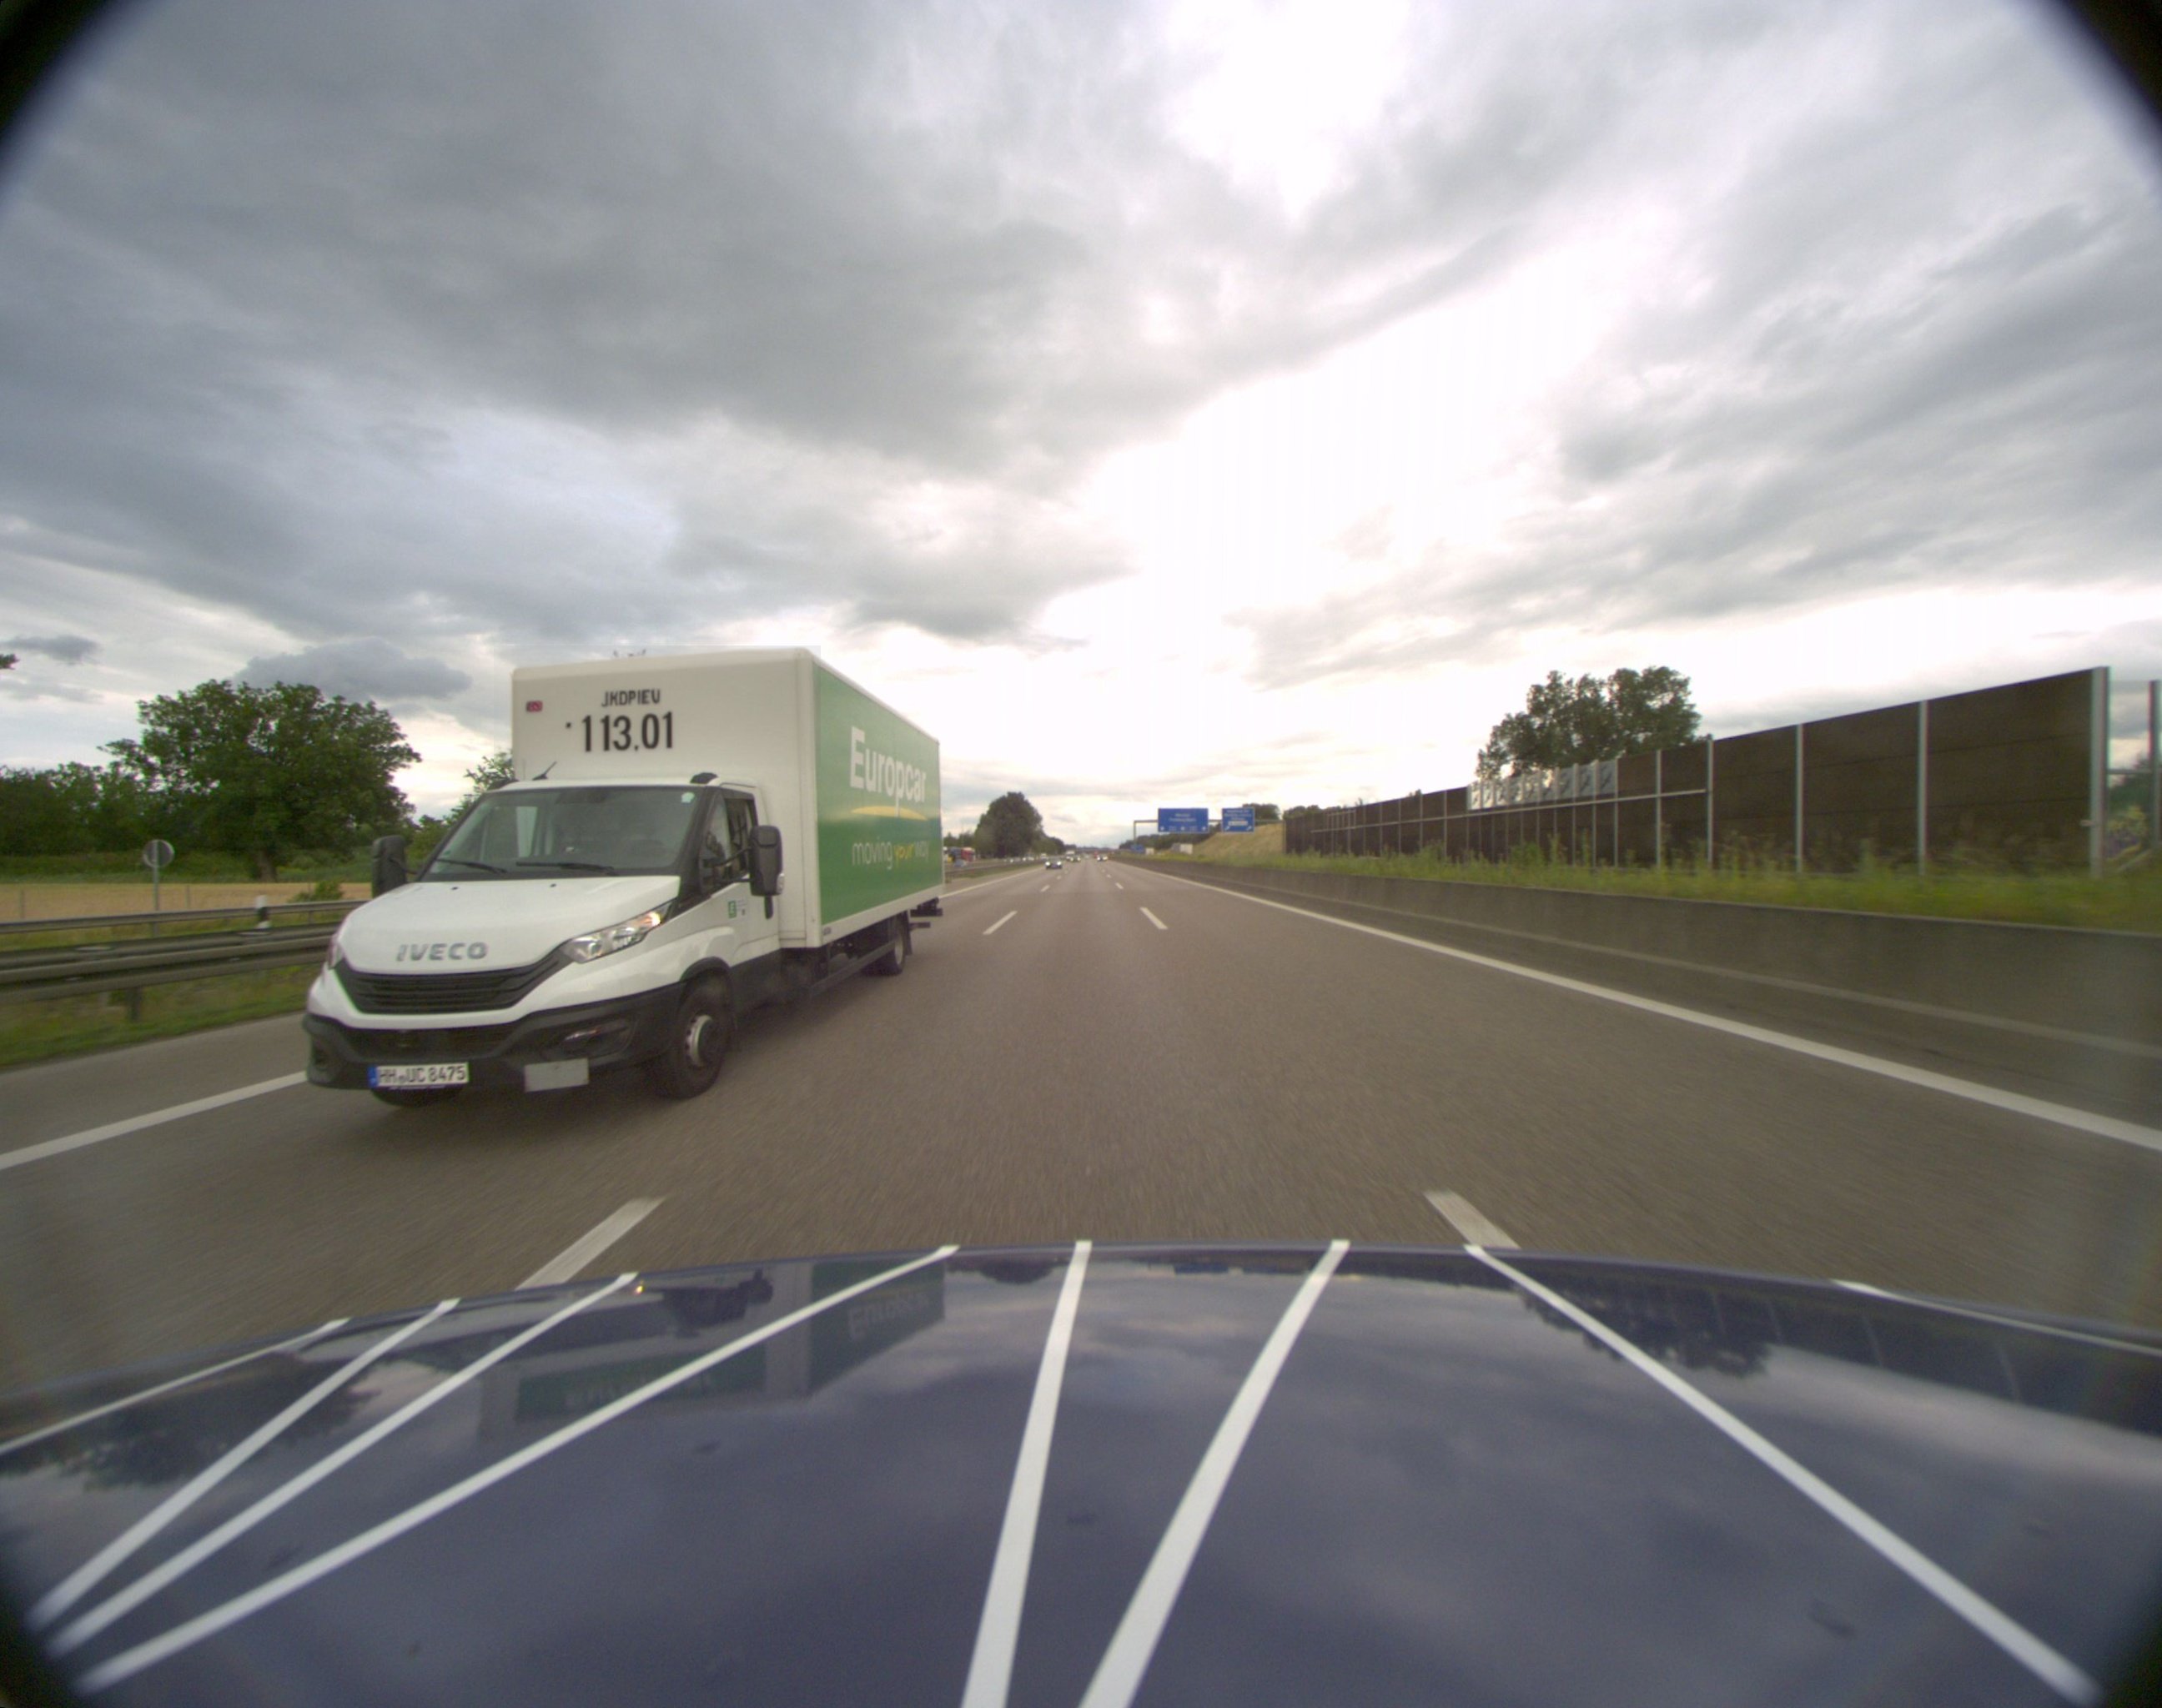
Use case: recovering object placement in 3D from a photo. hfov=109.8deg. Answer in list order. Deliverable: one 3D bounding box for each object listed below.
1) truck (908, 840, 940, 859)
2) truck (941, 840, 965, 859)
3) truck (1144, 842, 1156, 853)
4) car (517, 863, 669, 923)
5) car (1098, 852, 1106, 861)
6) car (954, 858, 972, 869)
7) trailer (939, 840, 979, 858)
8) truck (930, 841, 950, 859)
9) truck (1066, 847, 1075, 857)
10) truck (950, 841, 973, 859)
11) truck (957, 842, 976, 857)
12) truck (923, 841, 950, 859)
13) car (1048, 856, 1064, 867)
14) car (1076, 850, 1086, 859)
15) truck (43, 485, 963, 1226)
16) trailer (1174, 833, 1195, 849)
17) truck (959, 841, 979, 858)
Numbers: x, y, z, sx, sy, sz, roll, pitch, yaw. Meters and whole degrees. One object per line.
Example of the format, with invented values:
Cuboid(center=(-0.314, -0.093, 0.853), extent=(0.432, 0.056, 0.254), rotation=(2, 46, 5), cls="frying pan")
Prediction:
Cuboid(center=(-35.841, -1.009, 173.350), extent=(3.554, 4.061, 7.634), rotation=(-3, 1, -42), cls="truck")
Cuboid(center=(-33.322, -1.140, 197.643), extent=(3.174, 4.531, 6.069), rotation=(-3, 1, -43), cls="truck")
Cuboid(center=(23.062, -2.122, 253.857), extent=(3.267, 3.582, 10.934), rotation=(-1, 0, 0), cls="truck")
Cuboid(center=(-16.438, 1.227, 25.974), extent=(1.832, 1.746, 5.065), rotation=(-1, 0, 1), cls="car")
Cuboid(center=(4.864, 0.550, 177.009), extent=(1.998, 2.002, 4.000), rotation=(0, 1, 1), cls="car")
Cuboid(center=(-16.142, 1.283, 104.001), extent=(1.796, 1.251, 3.545), rotation=(-3, 1, 0), cls="car")
Cuboid(center=(-35.404, -1.371, 219.681), extent=(2.869, 4.651, 15.768), rotation=(-3, 1, -43), cls="trailer")
Cuboid(center=(-34.734, -0.986, 186.697), extent=(2.701, 4.032, 4.785), rotation=(-3, 1, -40), cls="truck")
Cuboid(center=(-2.641, -0.524, 189.425), extent=(1.998, 2.482, 5.869), rotation=(-2, 1, 1), cls="truck")
Cuboid(center=(-32.024, -1.120, 203.714), extent=(3.066, 4.531, 6.069), rotation=(-3, 1, -43), cls="truck")
Cuboid(center=(-33.683, -1.316, 223.582), extent=(2.674, 4.124, 5.915), rotation=(-3, 1, -42), cls="truck")
Cuboid(center=(-34.601, -0.879, 181.740), extent=(2.891, 4.111, 6.953), rotation=(-3, 1, -42), cls="truck")
Cuboid(center=(-2.951, 0.907, 90.562), extent=(1.781, 1.180, 4.000), rotation=(-1, 0, 1), cls="car")
Cuboid(center=(0.057, 0.128, 164.791), extent=(1.998, 2.002, 4.000), rotation=(0, 1, 1), cls="car")
Cuboid(center=(-3.488, 0.005, 8.200), extent=(2.777, 3.484, 9.061), rotation=(-2, 0, 1), cls="truck")
Cuboid(center=(22.223, -2.765, 163.813), extent=(2.827, 3.357, 13.509), rotation=(-1, 0, 1), cls="trailer")
Cuboid(center=(-31.787, -1.257, 215.805), extent=(2.883, 4.598, 5.158), rotation=(-3, 1, -44), cls="truck")
